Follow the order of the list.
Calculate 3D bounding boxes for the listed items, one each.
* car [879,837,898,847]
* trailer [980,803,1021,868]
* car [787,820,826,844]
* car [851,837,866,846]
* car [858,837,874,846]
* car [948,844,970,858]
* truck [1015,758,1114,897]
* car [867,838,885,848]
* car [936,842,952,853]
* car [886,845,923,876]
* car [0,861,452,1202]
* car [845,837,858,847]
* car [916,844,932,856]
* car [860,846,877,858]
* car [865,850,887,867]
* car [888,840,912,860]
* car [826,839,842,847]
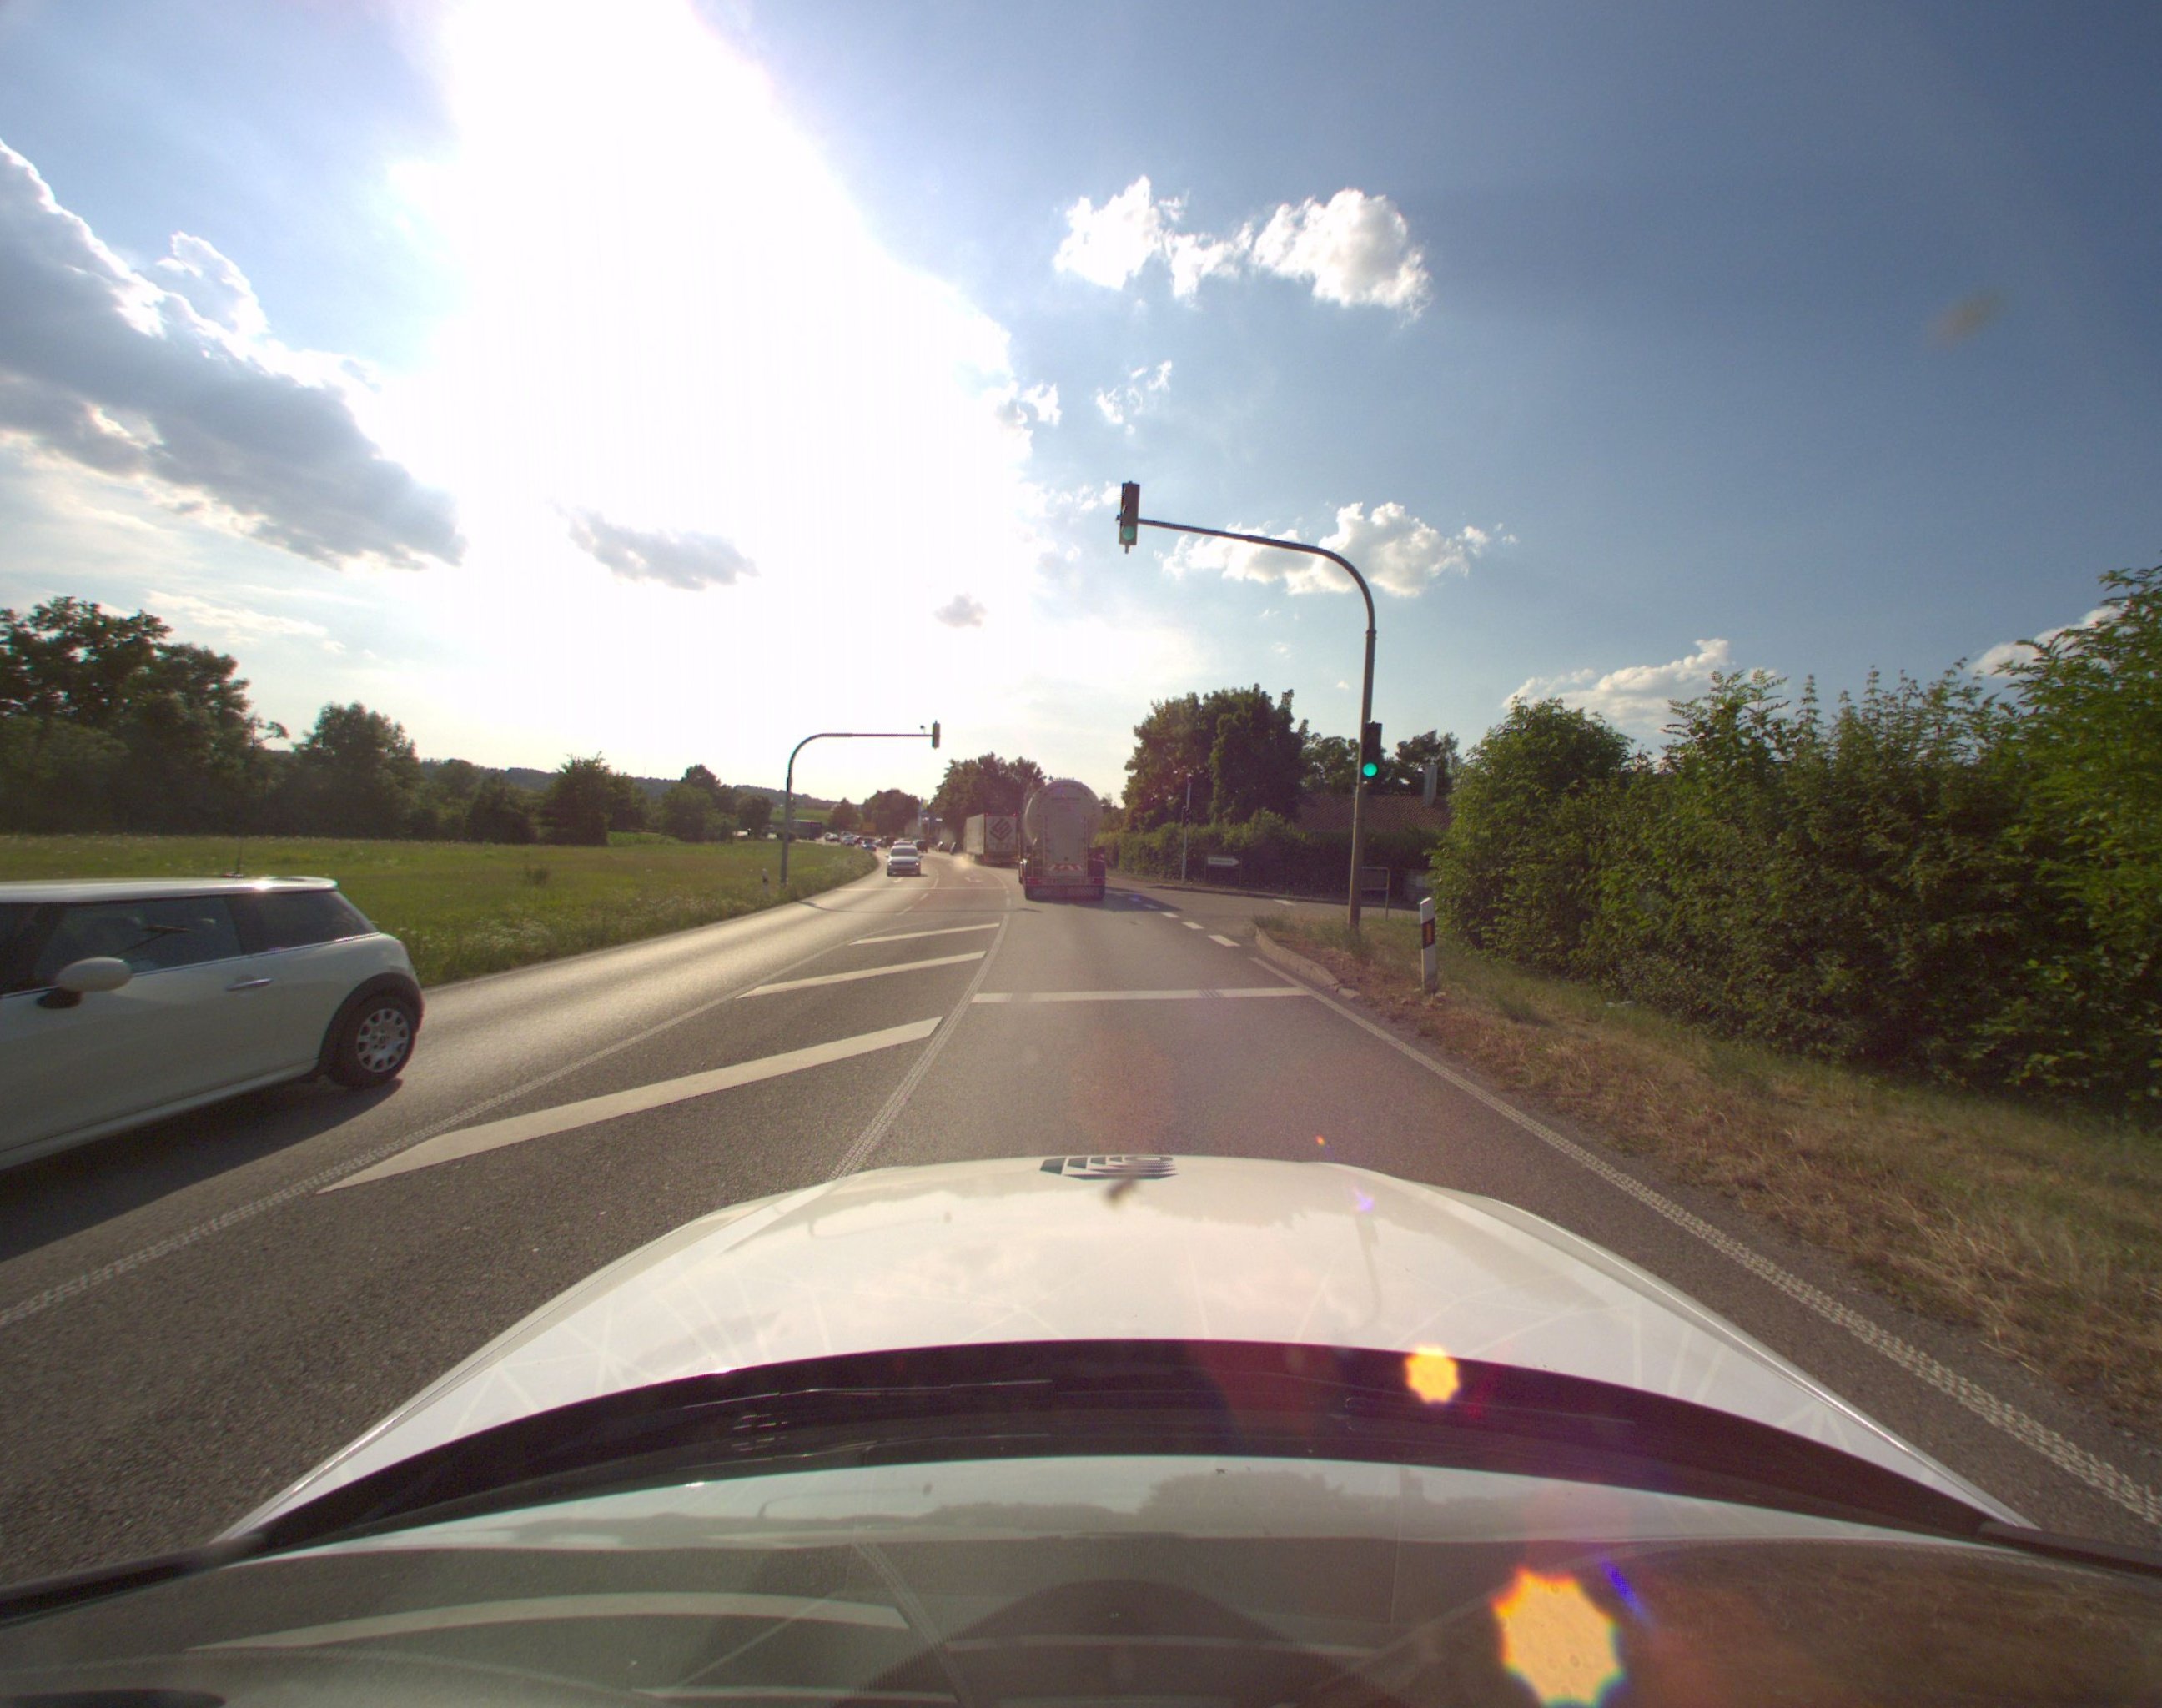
[{"bbox_3d":[-31.827,-2.054,134.616,1.894,1.599,3.961,1,0,-31],"label":"car"},{"bbox_3d":[-6.717,-1.308,66.513,2.962,4.882,10.259,1,-1,-8],"label":"trailer"},{"bbox_3d":[-60.896,-4.738,180.307,3.570,5.059,13.089,1,0,-39],"label":"car"},{"bbox_3d":[-41.836,-2.290,152.927,1.893,1.599,3.963,1,0,-29],"label":"car"},{"bbox_3d":[-39.101,-2.188,147.910,1.892,1.599,3.964,1,0,-28],"label":"car"},{"bbox_3d":[-15.513,-0.395,103.164,2.000,1.656,3.973,1,-1,-20],"label":"car"},{"bbox_3d":[-0.897,-0.701,30.645,2.970,4.176,11.643,1,-1,-4],"label":"truck"},{"bbox_3d":[-35.614,-1.893,141.467,2.096,1.599,3.965,1,0,-27],"label":"car"},{"bbox_3d":[-19.962,-0.967,118.445,1.689,1.468,3.974,1,-1,-19],"label":"car"},{"bbox_3d":[-9.761,0.341,44.991,1.883,1.599,3.983,1,0,-12],"label":"car"},{"bbox_3d":[-5.466,0.778,4.096,1.715,1.436,3.747,-1,0,-1],"label":"car"},{"bbox_3d":[-37.420,-1.966,132.731,1.888,1.599,3.974,1,0,-19],"label":"car"},{"bbox_3d":[-22.039,-0.543,114.151,1.886,1.599,3.978,1,0,-16],"label":"car"},{"bbox_3d":[-29.312,-0.301,112.396,1.888,1.599,3.974,1,0,-19],"label":"car"},{"bbox_3d":[-21.051,0.427,83.487,1.887,1.599,3.974,1,0,-19],"label":"car"},{"bbox_3d":[-15.867,-0.356,71.310,1.885,1.599,3.981,1,0,-14],"label":"car"},{"bbox_3d":[-50.402,-2.319,166.155,1.897,1.599,3.955,1,0,-37],"label":"car"}]
